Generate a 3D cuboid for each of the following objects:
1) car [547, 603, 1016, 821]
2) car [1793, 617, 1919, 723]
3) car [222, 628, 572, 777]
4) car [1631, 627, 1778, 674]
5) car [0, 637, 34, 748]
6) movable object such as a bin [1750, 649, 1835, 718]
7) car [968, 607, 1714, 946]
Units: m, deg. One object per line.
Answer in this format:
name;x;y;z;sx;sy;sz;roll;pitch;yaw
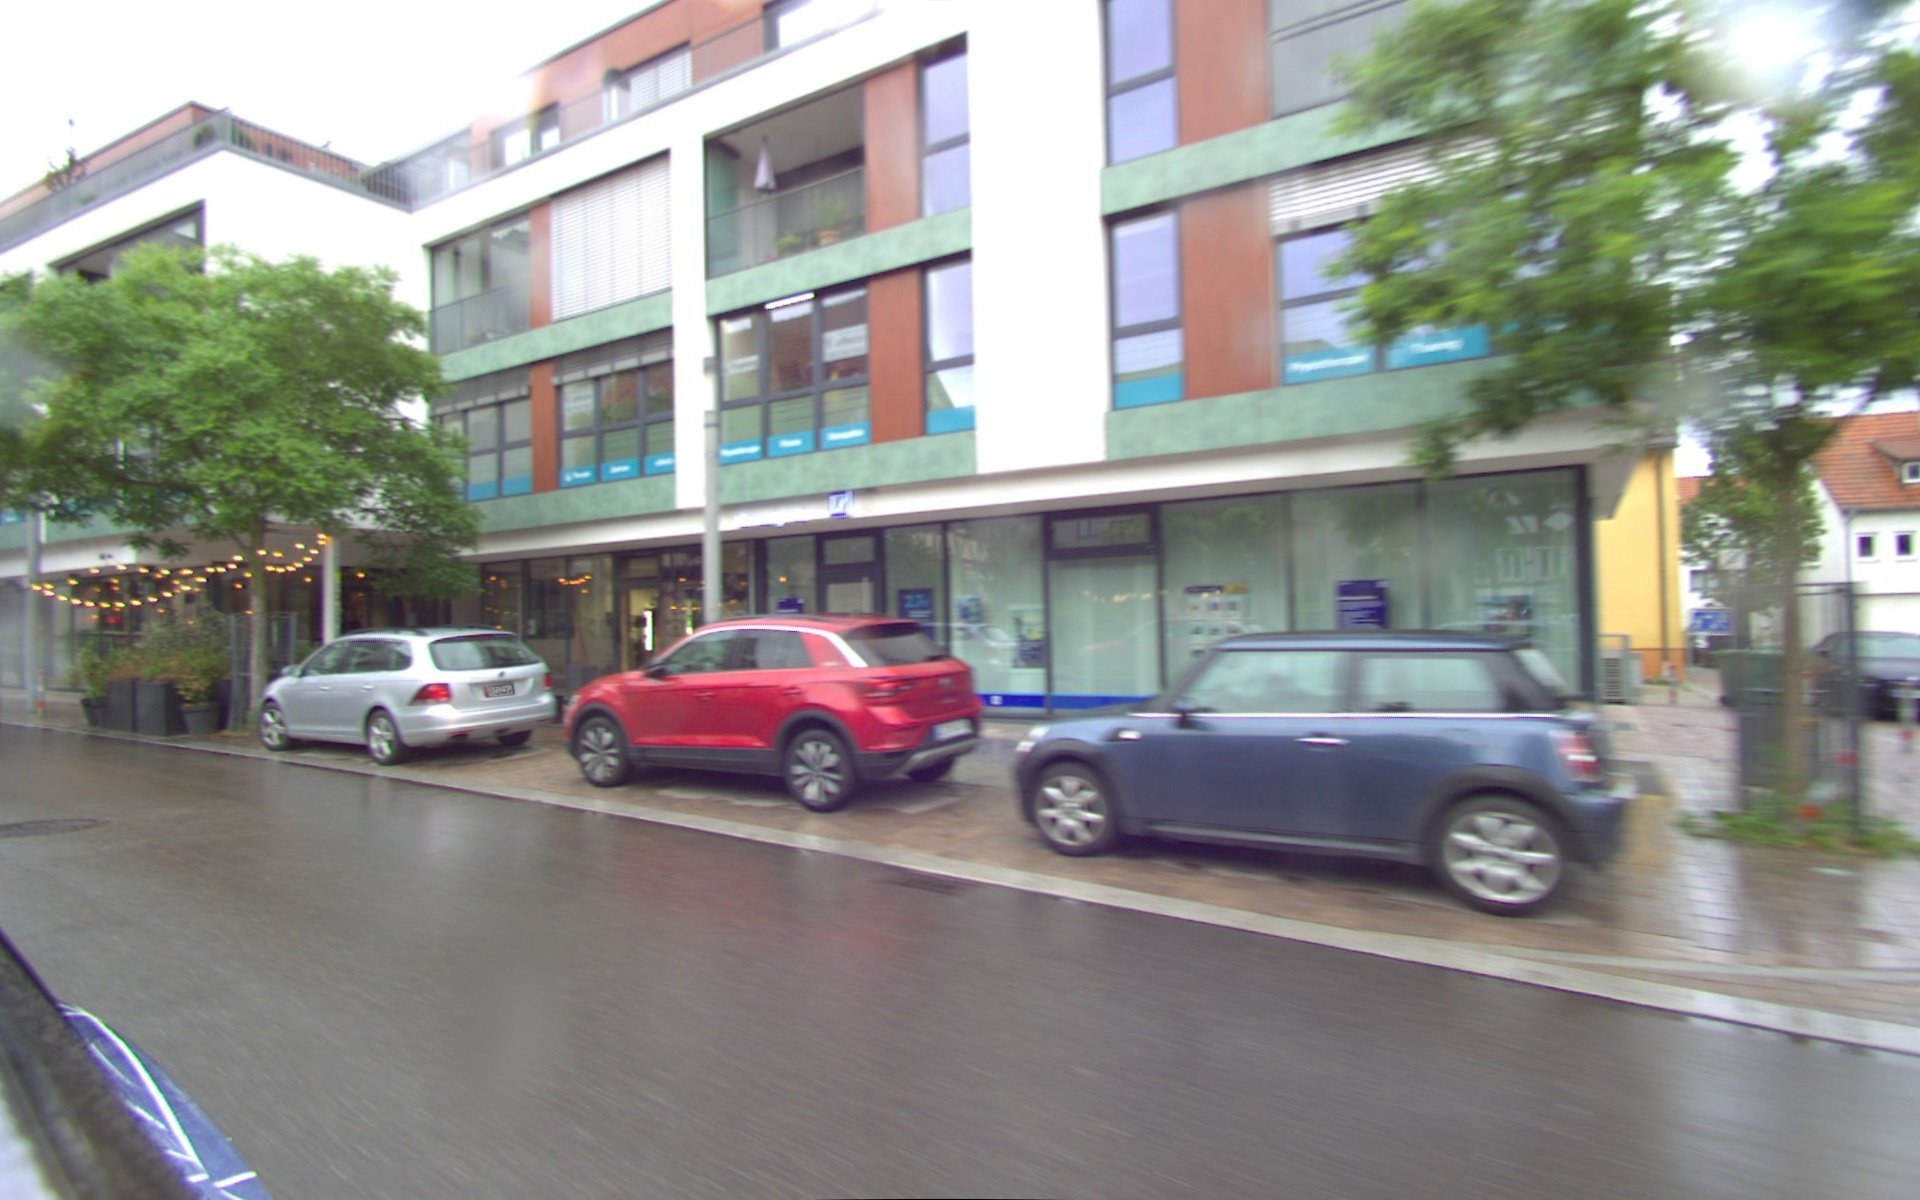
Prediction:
car;-1.698;0.868;9.228;4.093;1.588;1.773;-1;-2;32
car;15.916;1.107;17.240;1.809;1.630;3.963;-1;-2;27
car;-6.883;1.102;12.246;4.440;1.510;1.773;-1;-2;32
car;26.932;1.794;36.770;3.977;1.630;1.803;-1;-2;25
car;-14.431;1.182;13.362;4.005;1.428;1.781;-1;-4;24
movable object such as a bin;13.903;1.383;16.939;0.922;1.105;0.991;-4;-5;33
car;2.144;0.821;6.245;3.900;1.469;1.700;-2;-1;35
